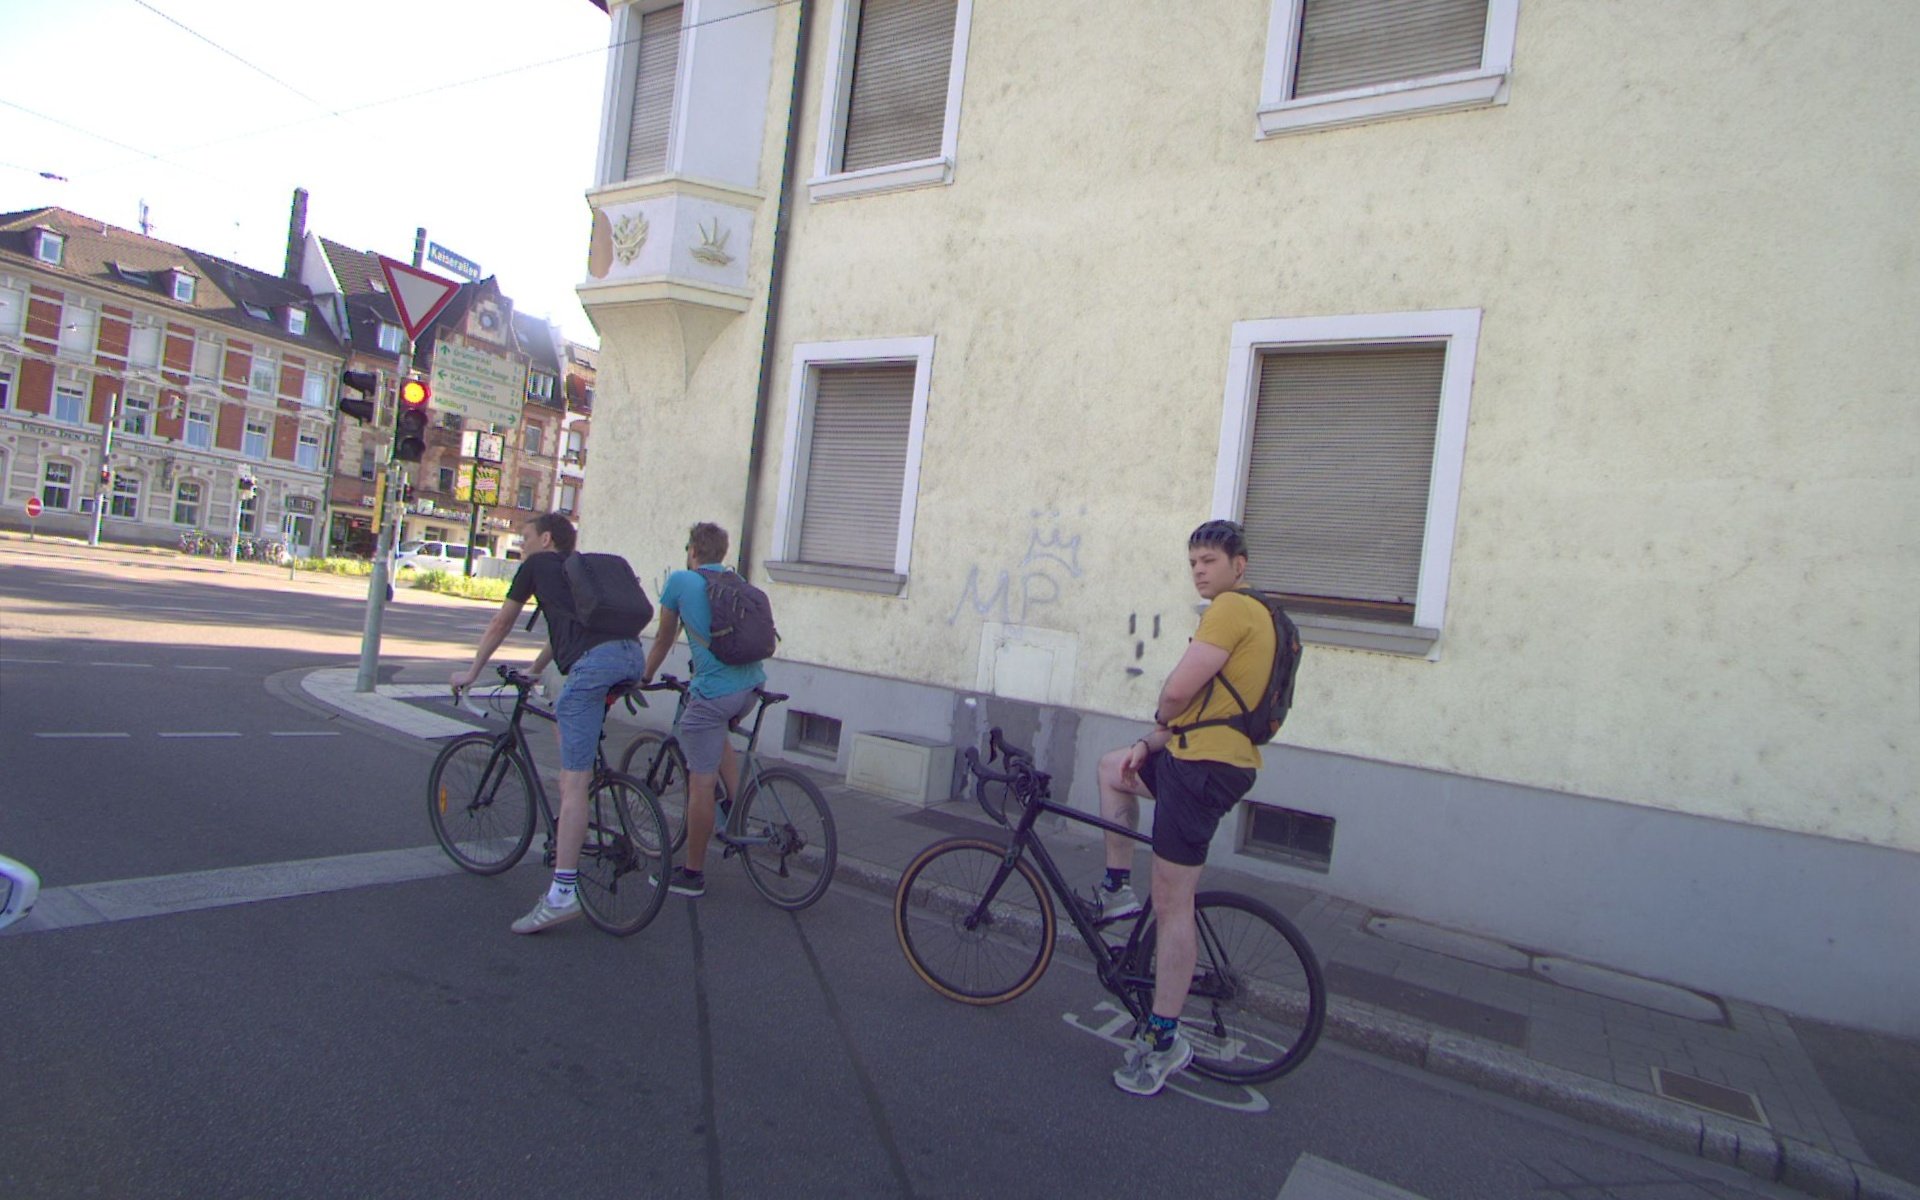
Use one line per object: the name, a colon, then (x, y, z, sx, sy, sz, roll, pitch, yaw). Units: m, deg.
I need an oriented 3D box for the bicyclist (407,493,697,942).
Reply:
bicyclist: (-1.841, 0.476, 4.548, 0.920, 1.787, 0.590, 6, -1, 32)

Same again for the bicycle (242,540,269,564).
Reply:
bicycle: (-33.575, -2.302, 47.933, 0.762, 1.019, 2.196, 8, -2, -39)

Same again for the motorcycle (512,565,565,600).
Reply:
motorcycle: (-20.346, -0.831, 48.623, 0.784, 1.349, 2.137, 6, -2, 36)

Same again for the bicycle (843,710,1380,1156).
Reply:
bicycle: (0.564, 1.117, 3.807, 1.709, 1.119, 0.783, 7, -1, 18)

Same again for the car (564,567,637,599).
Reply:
car: (-23.212, -1.101, 65.019, 1.842, 1.454, 3.985, 6, -2, 35)

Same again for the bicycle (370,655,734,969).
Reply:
bicycle: (-1.889, 0.867, 4.545, 1.753, 1.003, 0.482, 6, -1, 32)

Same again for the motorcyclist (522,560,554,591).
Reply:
motorcyclist: (-20.362, -1.160, 48.552, 0.777, 1.315, 1.015, 6, -2, 36)

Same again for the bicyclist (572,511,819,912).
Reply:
bicyclist: (-1.377, 0.527, 5.226, 0.960, 1.868, 0.504, 6, -1, 32)

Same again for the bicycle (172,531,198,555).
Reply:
bicycle: (-35.347, -2.606, 45.869, 0.762, 0.974, 2.186, 8, -2, -39)

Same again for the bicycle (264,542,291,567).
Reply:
bicycle: (-32.997, -2.199, 48.605, 0.789, 1.027, 2.186, 8, -2, -39)

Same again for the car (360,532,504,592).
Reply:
car: (-23.193, -1.613, 44.380, 1.967, 1.876, 5.207, 7, -1, 32)

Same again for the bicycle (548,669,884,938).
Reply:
bicycle: (-1.304, 0.972, 5.212, 1.753, 0.995, 0.504, 6, -1, 32)

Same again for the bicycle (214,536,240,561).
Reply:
bicycle: (-34.248, -2.415, 47.016, 0.762, 0.995, 2.186, 8, -2, -39)

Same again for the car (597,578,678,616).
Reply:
car: (-17.078, -0.136, 53.447, 1.569, 1.443, 3.876, 7, -1, 32)

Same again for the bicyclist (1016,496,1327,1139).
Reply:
bicyclist: (0.796, 0.704, 3.686, 0.763, 1.990, 0.783, 7, 0, 18)

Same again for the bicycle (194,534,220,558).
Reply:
bicycle: (-34.745, -2.505, 46.393, 0.762, 0.979, 2.186, 8, -2, -39)
